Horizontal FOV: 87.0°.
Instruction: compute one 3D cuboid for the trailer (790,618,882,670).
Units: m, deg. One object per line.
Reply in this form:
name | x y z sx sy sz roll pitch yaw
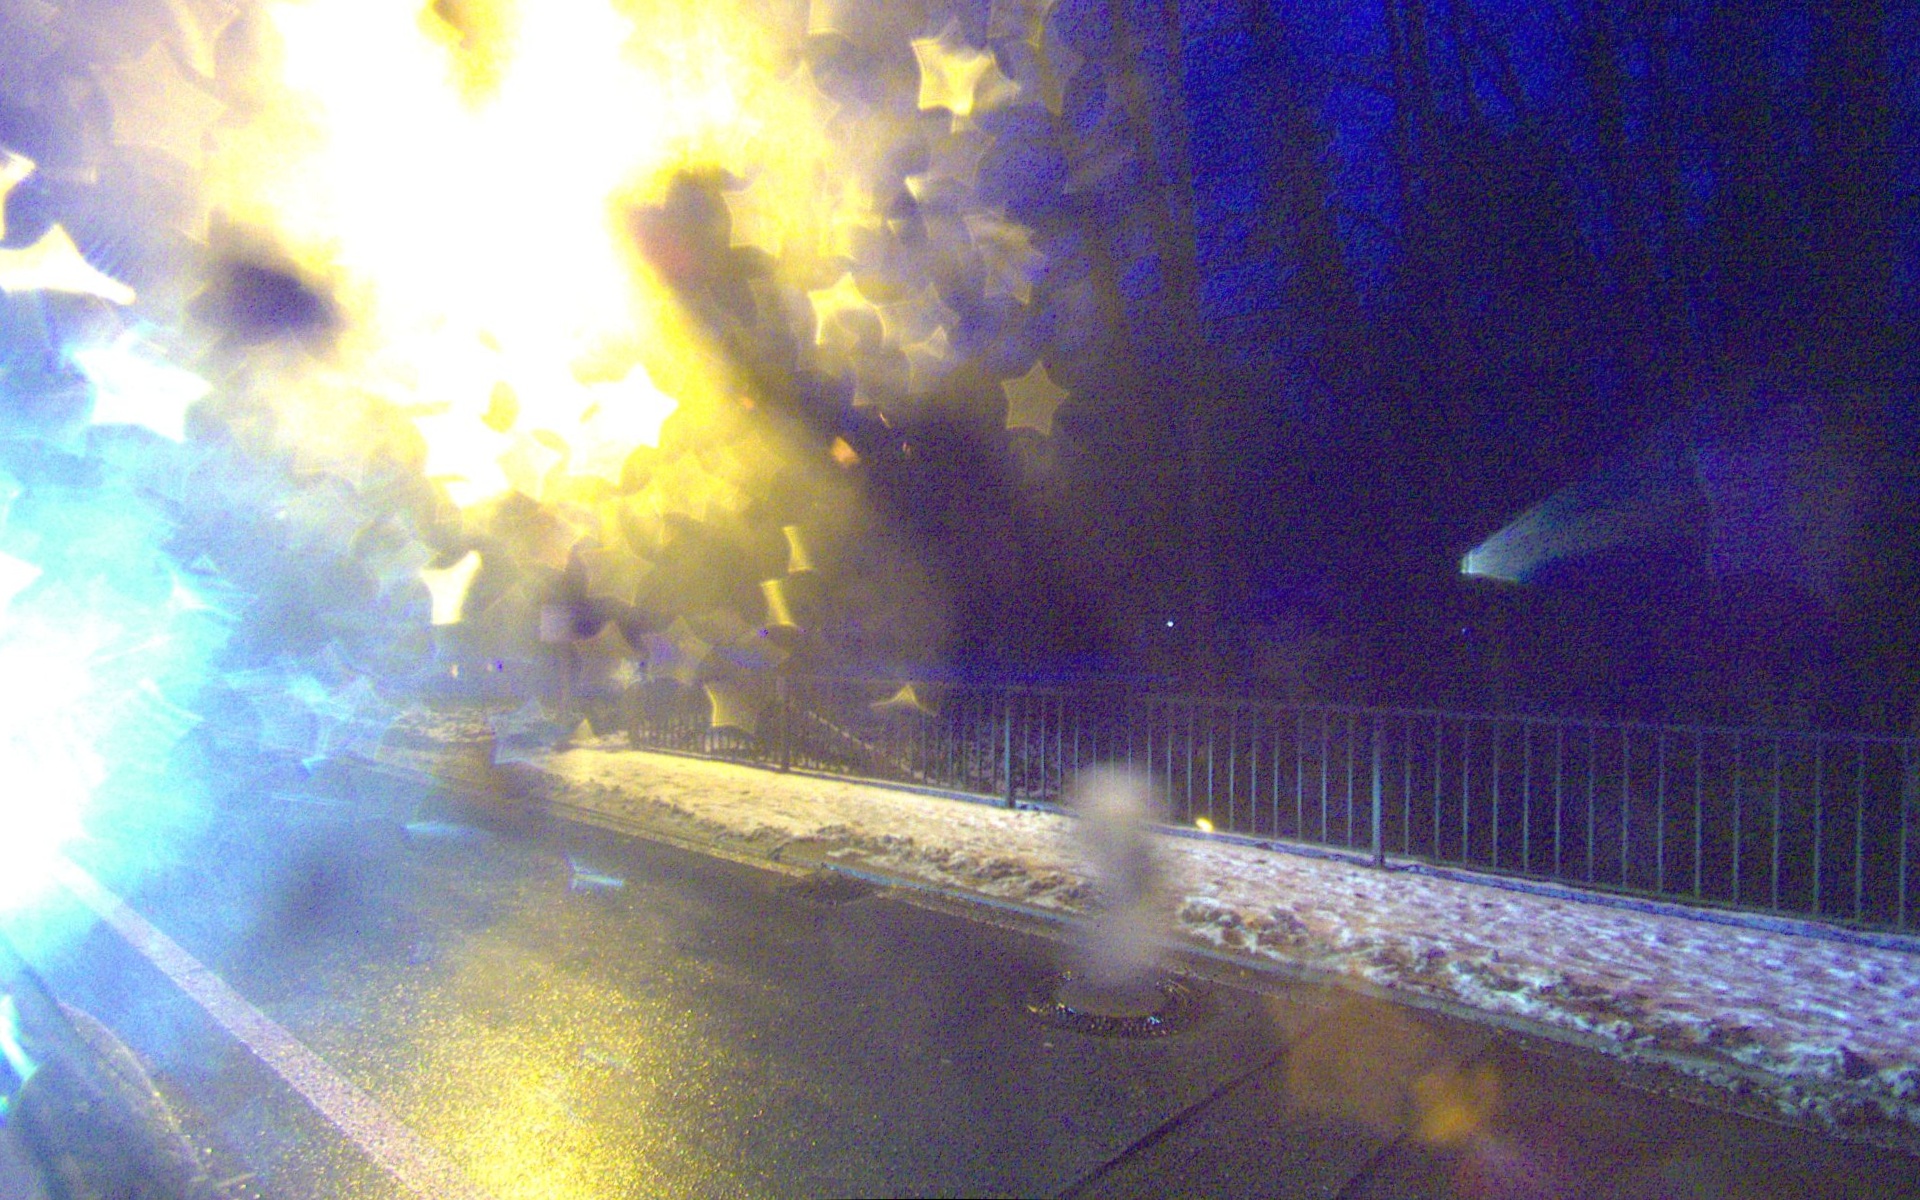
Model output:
trailer | -5.844 2.083 47.794 3.745 2.234 1.980 4 -2 -31
